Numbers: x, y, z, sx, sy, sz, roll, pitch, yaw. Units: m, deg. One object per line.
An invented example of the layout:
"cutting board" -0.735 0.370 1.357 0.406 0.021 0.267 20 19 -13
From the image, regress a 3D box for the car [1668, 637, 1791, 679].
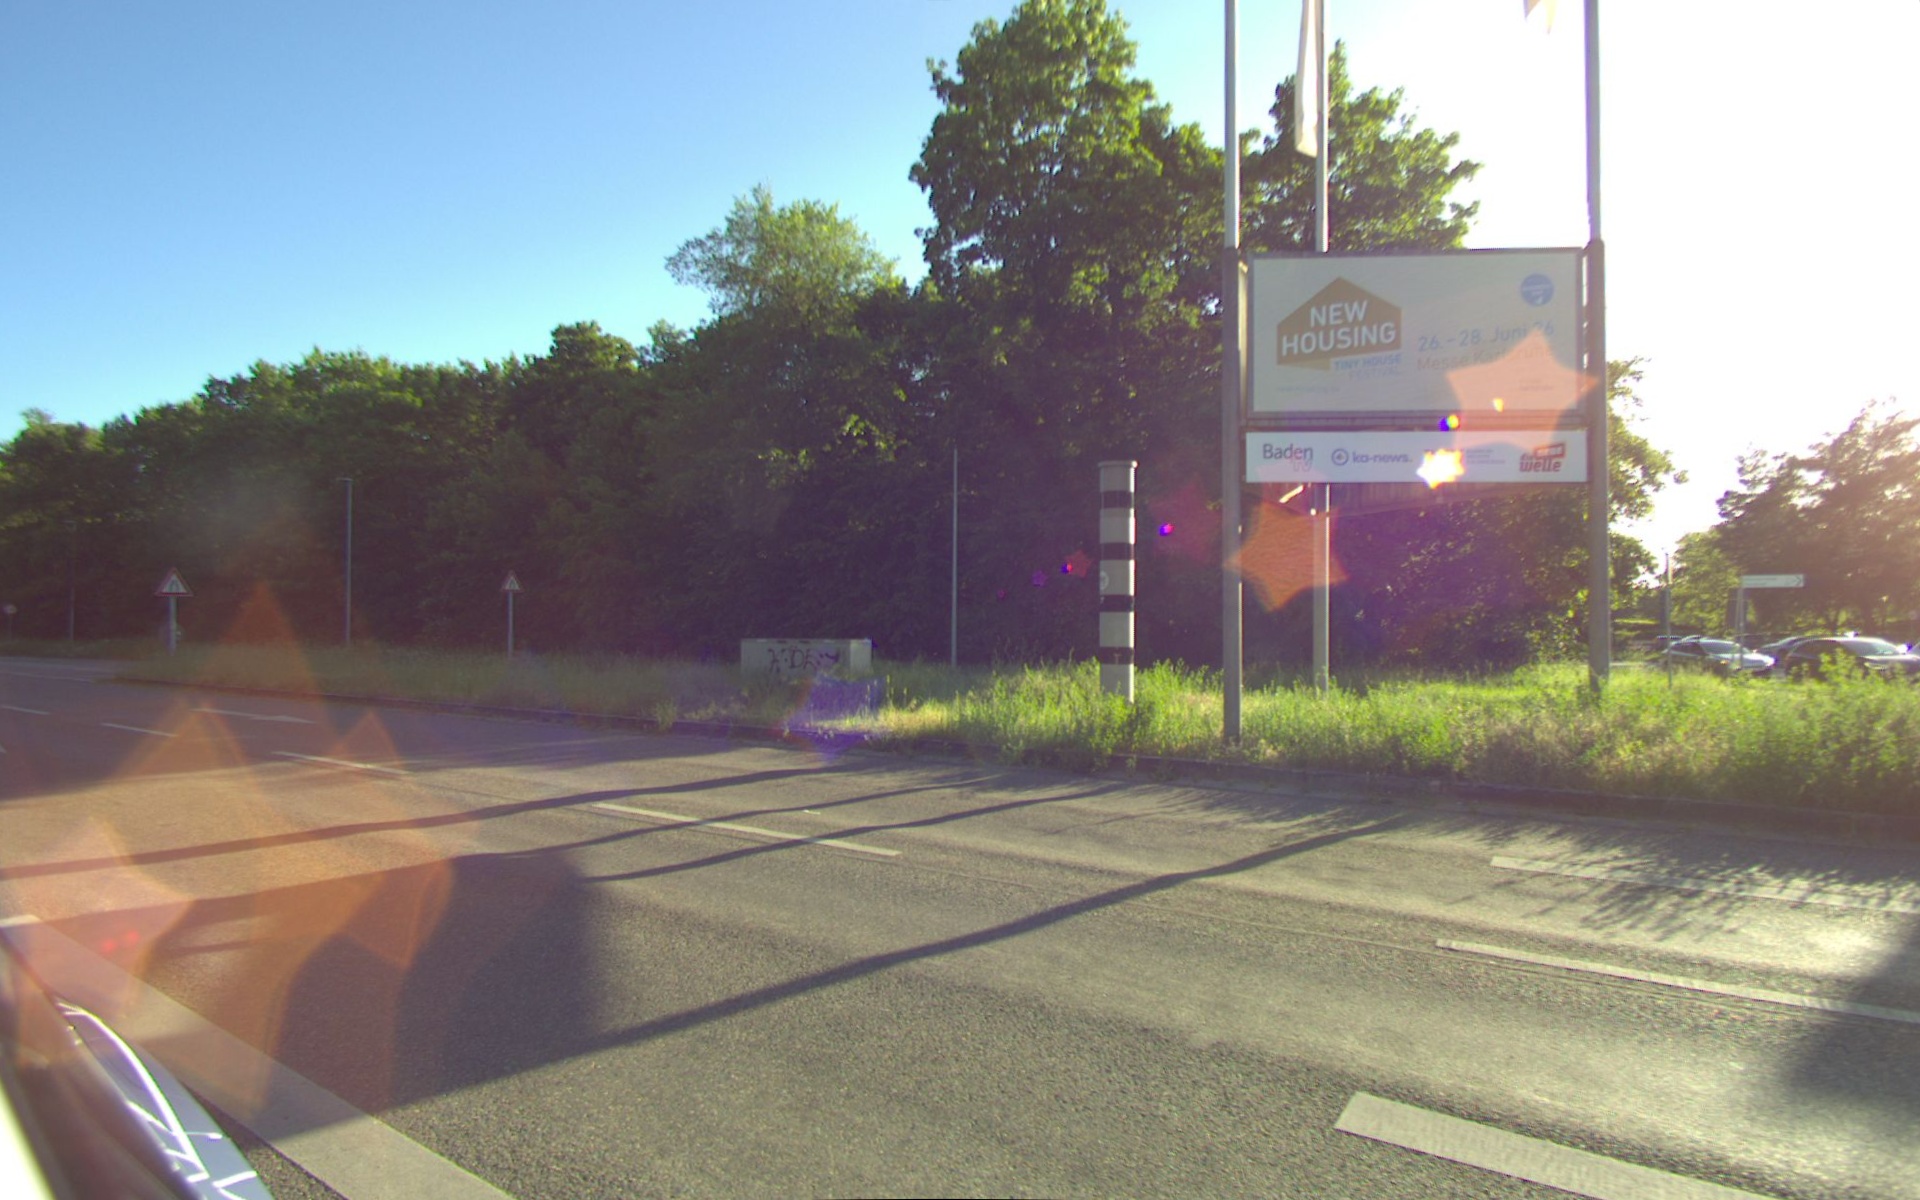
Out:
"car" 27.121 2.014 35.821 1.833 1.400 3.788 0 -2 9

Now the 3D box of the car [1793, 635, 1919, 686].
"car" 26.670 1.730 29.612 1.833 1.400 3.788 0 -2 9

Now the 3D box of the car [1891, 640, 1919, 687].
"car" 29.500 1.871 29.350 1.833 1.400 3.788 0 -2 9
